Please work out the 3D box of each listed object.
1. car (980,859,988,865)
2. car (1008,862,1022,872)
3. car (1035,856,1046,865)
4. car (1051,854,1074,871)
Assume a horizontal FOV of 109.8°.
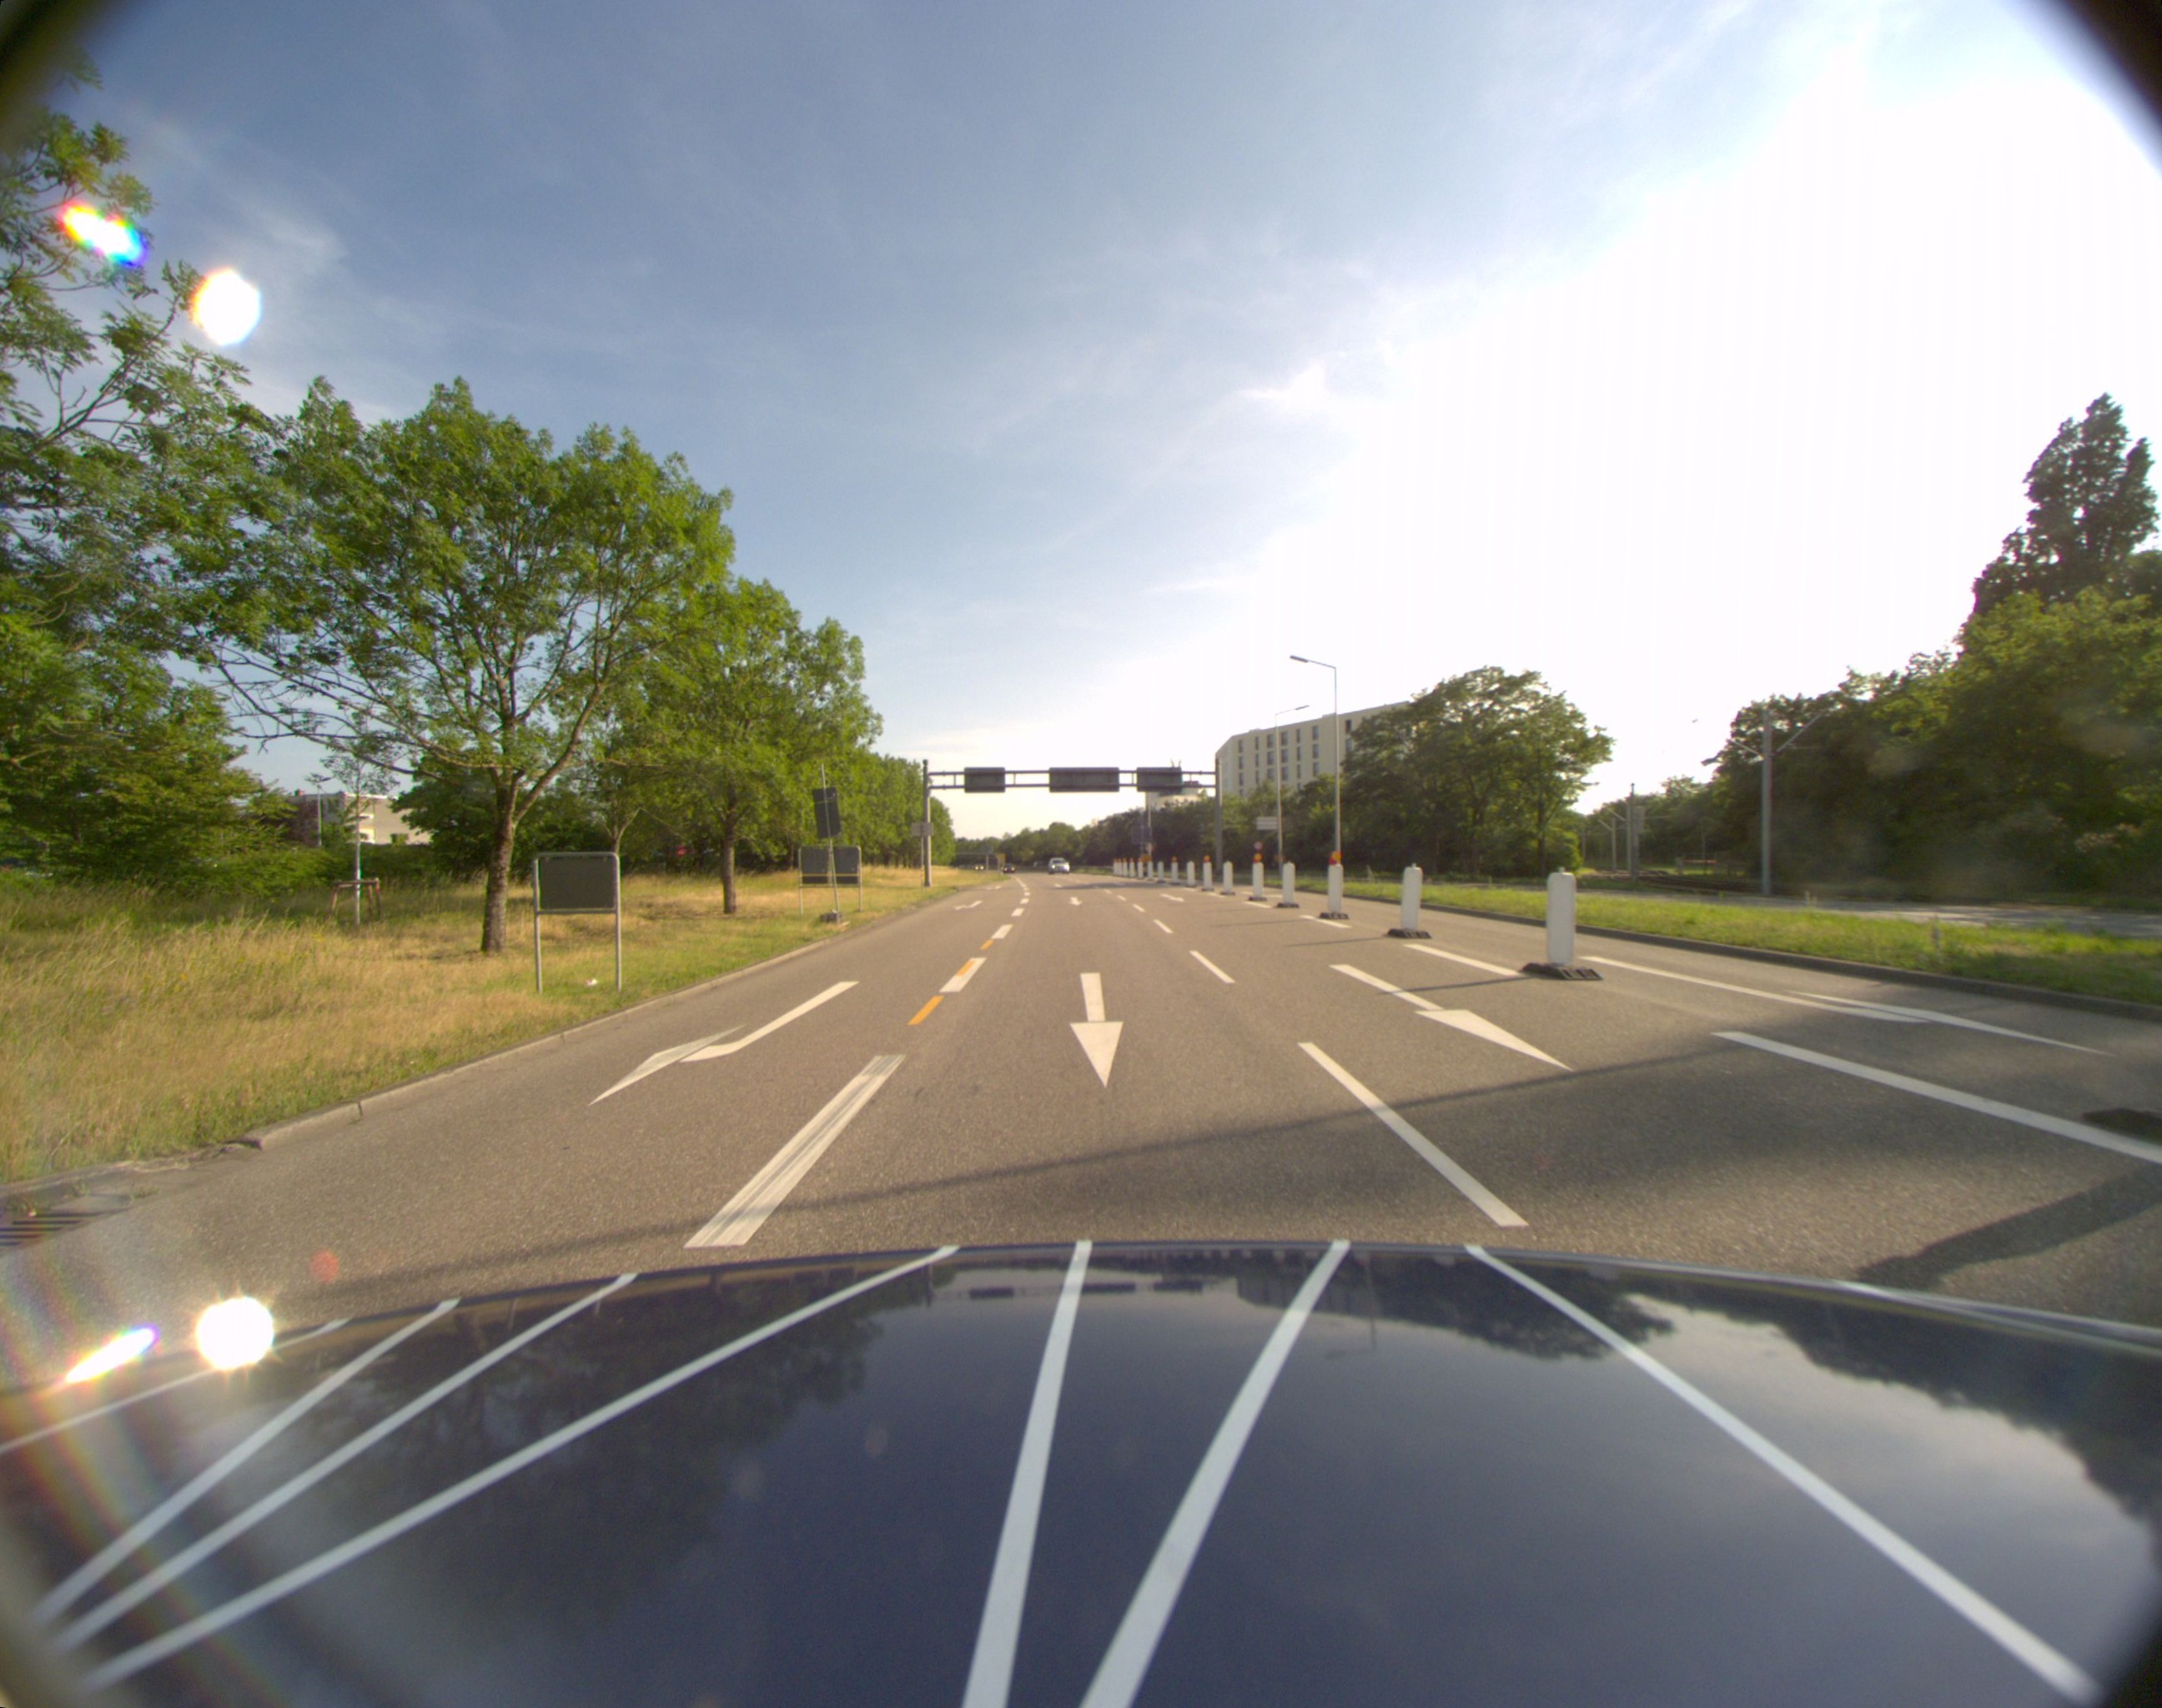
[{"bbox_3d":[-29.057,2.488,227.886,1.738,1.602,3.518,-3,0,-20],"label":"car"},{"bbox_3d":[-10.022,1.943,115.187,1.902,1.377,4.352,-3,0,-9],"label":"car"},{"bbox_3d":[-8.446,1.349,159.813,1.791,1.796,4.120,-1,0,-10],"label":"car"},{"bbox_3d":[-2.130,0.939,85.433,1.902,1.813,4.352,-3,0,-9],"label":"car"}]
